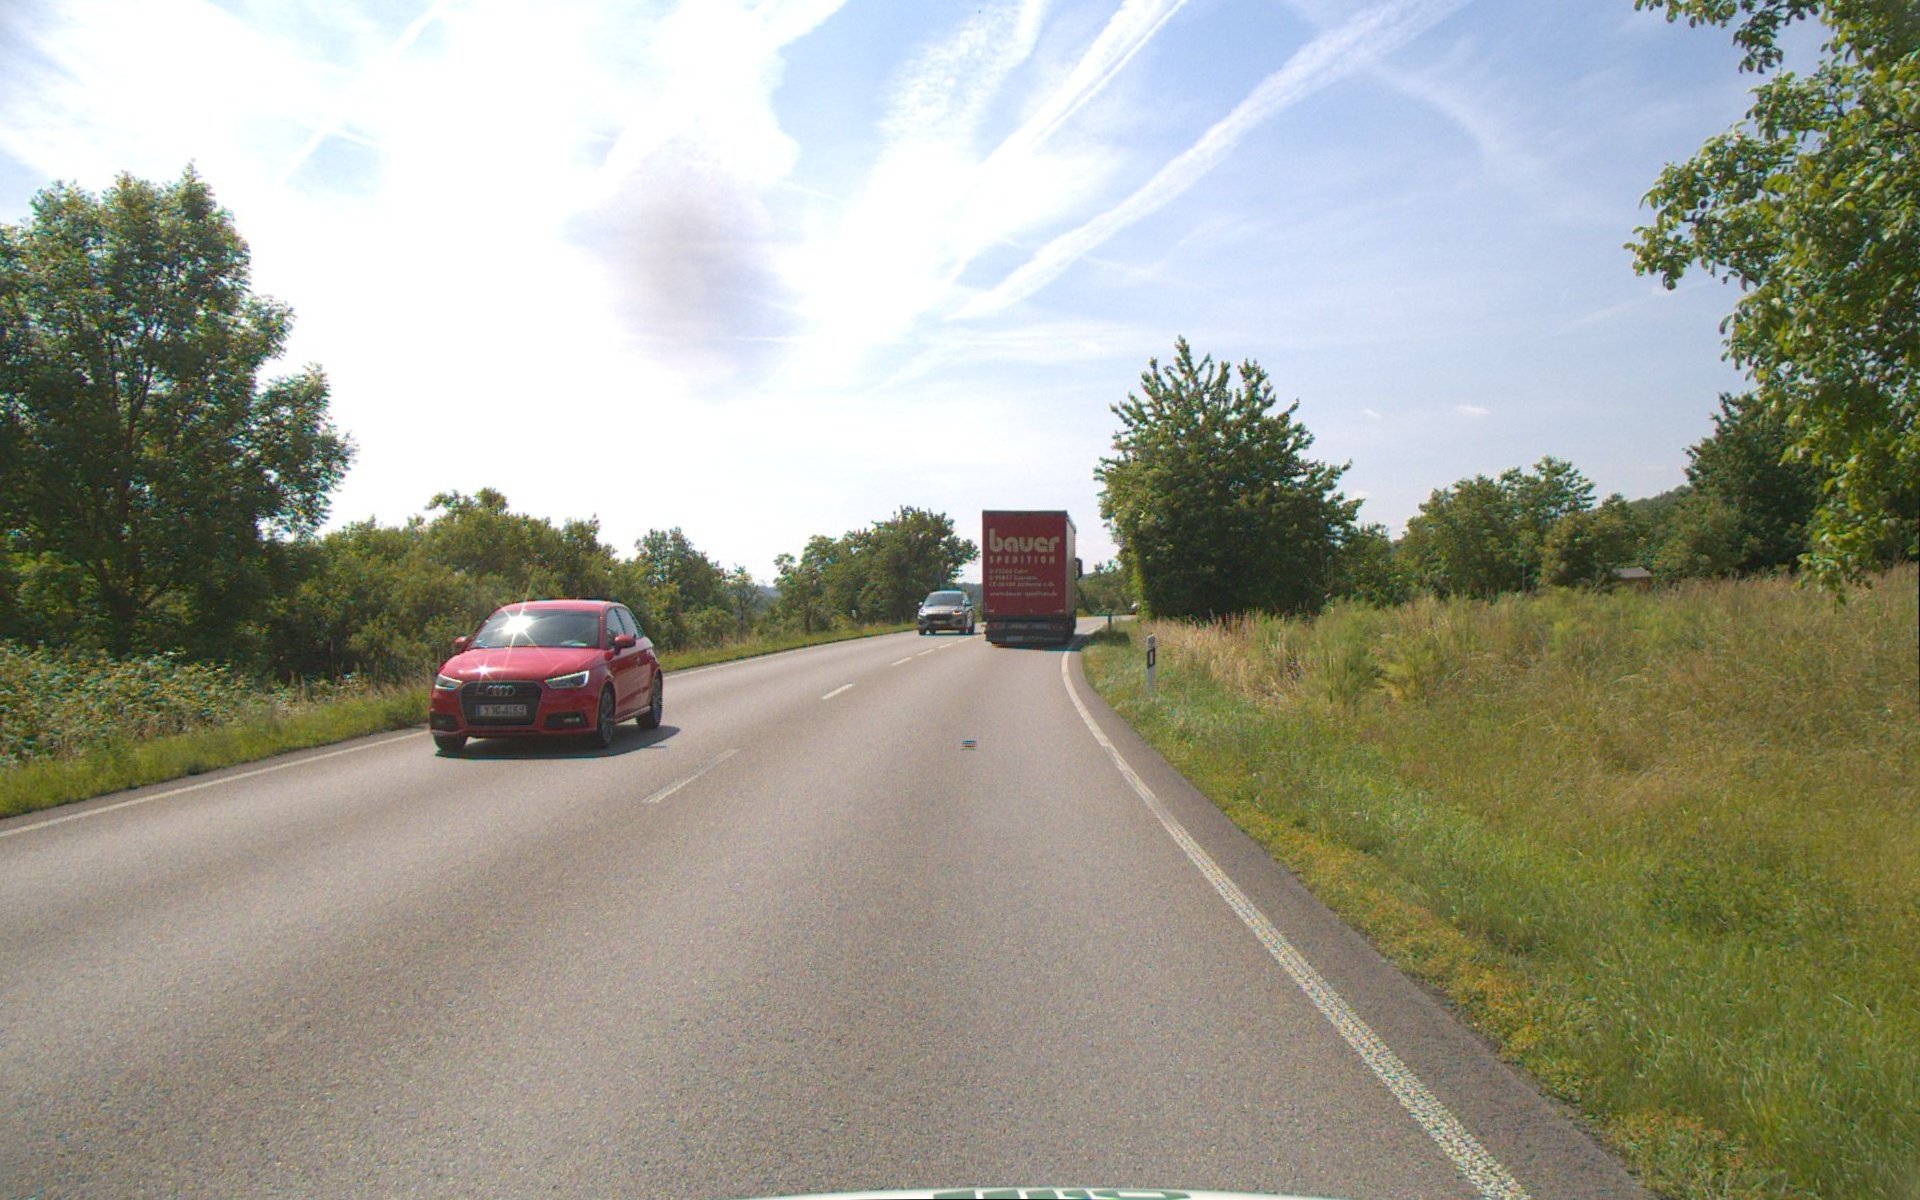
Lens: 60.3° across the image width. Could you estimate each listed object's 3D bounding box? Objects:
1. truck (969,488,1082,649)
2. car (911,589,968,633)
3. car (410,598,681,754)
[{"bbox_3d":[2.349,-0.940,54.003,3.046,4.584,12.175,1,0,5],"label":"truck"},{"bbox_3d":[-0.756,0.398,64.458,1.916,1.633,4.403,-1,0,3],"label":"car"},{"bbox_3d":[-4.194,0.700,17.426,1.783,1.422,4.182,-1,0,0],"label":"car"}]
